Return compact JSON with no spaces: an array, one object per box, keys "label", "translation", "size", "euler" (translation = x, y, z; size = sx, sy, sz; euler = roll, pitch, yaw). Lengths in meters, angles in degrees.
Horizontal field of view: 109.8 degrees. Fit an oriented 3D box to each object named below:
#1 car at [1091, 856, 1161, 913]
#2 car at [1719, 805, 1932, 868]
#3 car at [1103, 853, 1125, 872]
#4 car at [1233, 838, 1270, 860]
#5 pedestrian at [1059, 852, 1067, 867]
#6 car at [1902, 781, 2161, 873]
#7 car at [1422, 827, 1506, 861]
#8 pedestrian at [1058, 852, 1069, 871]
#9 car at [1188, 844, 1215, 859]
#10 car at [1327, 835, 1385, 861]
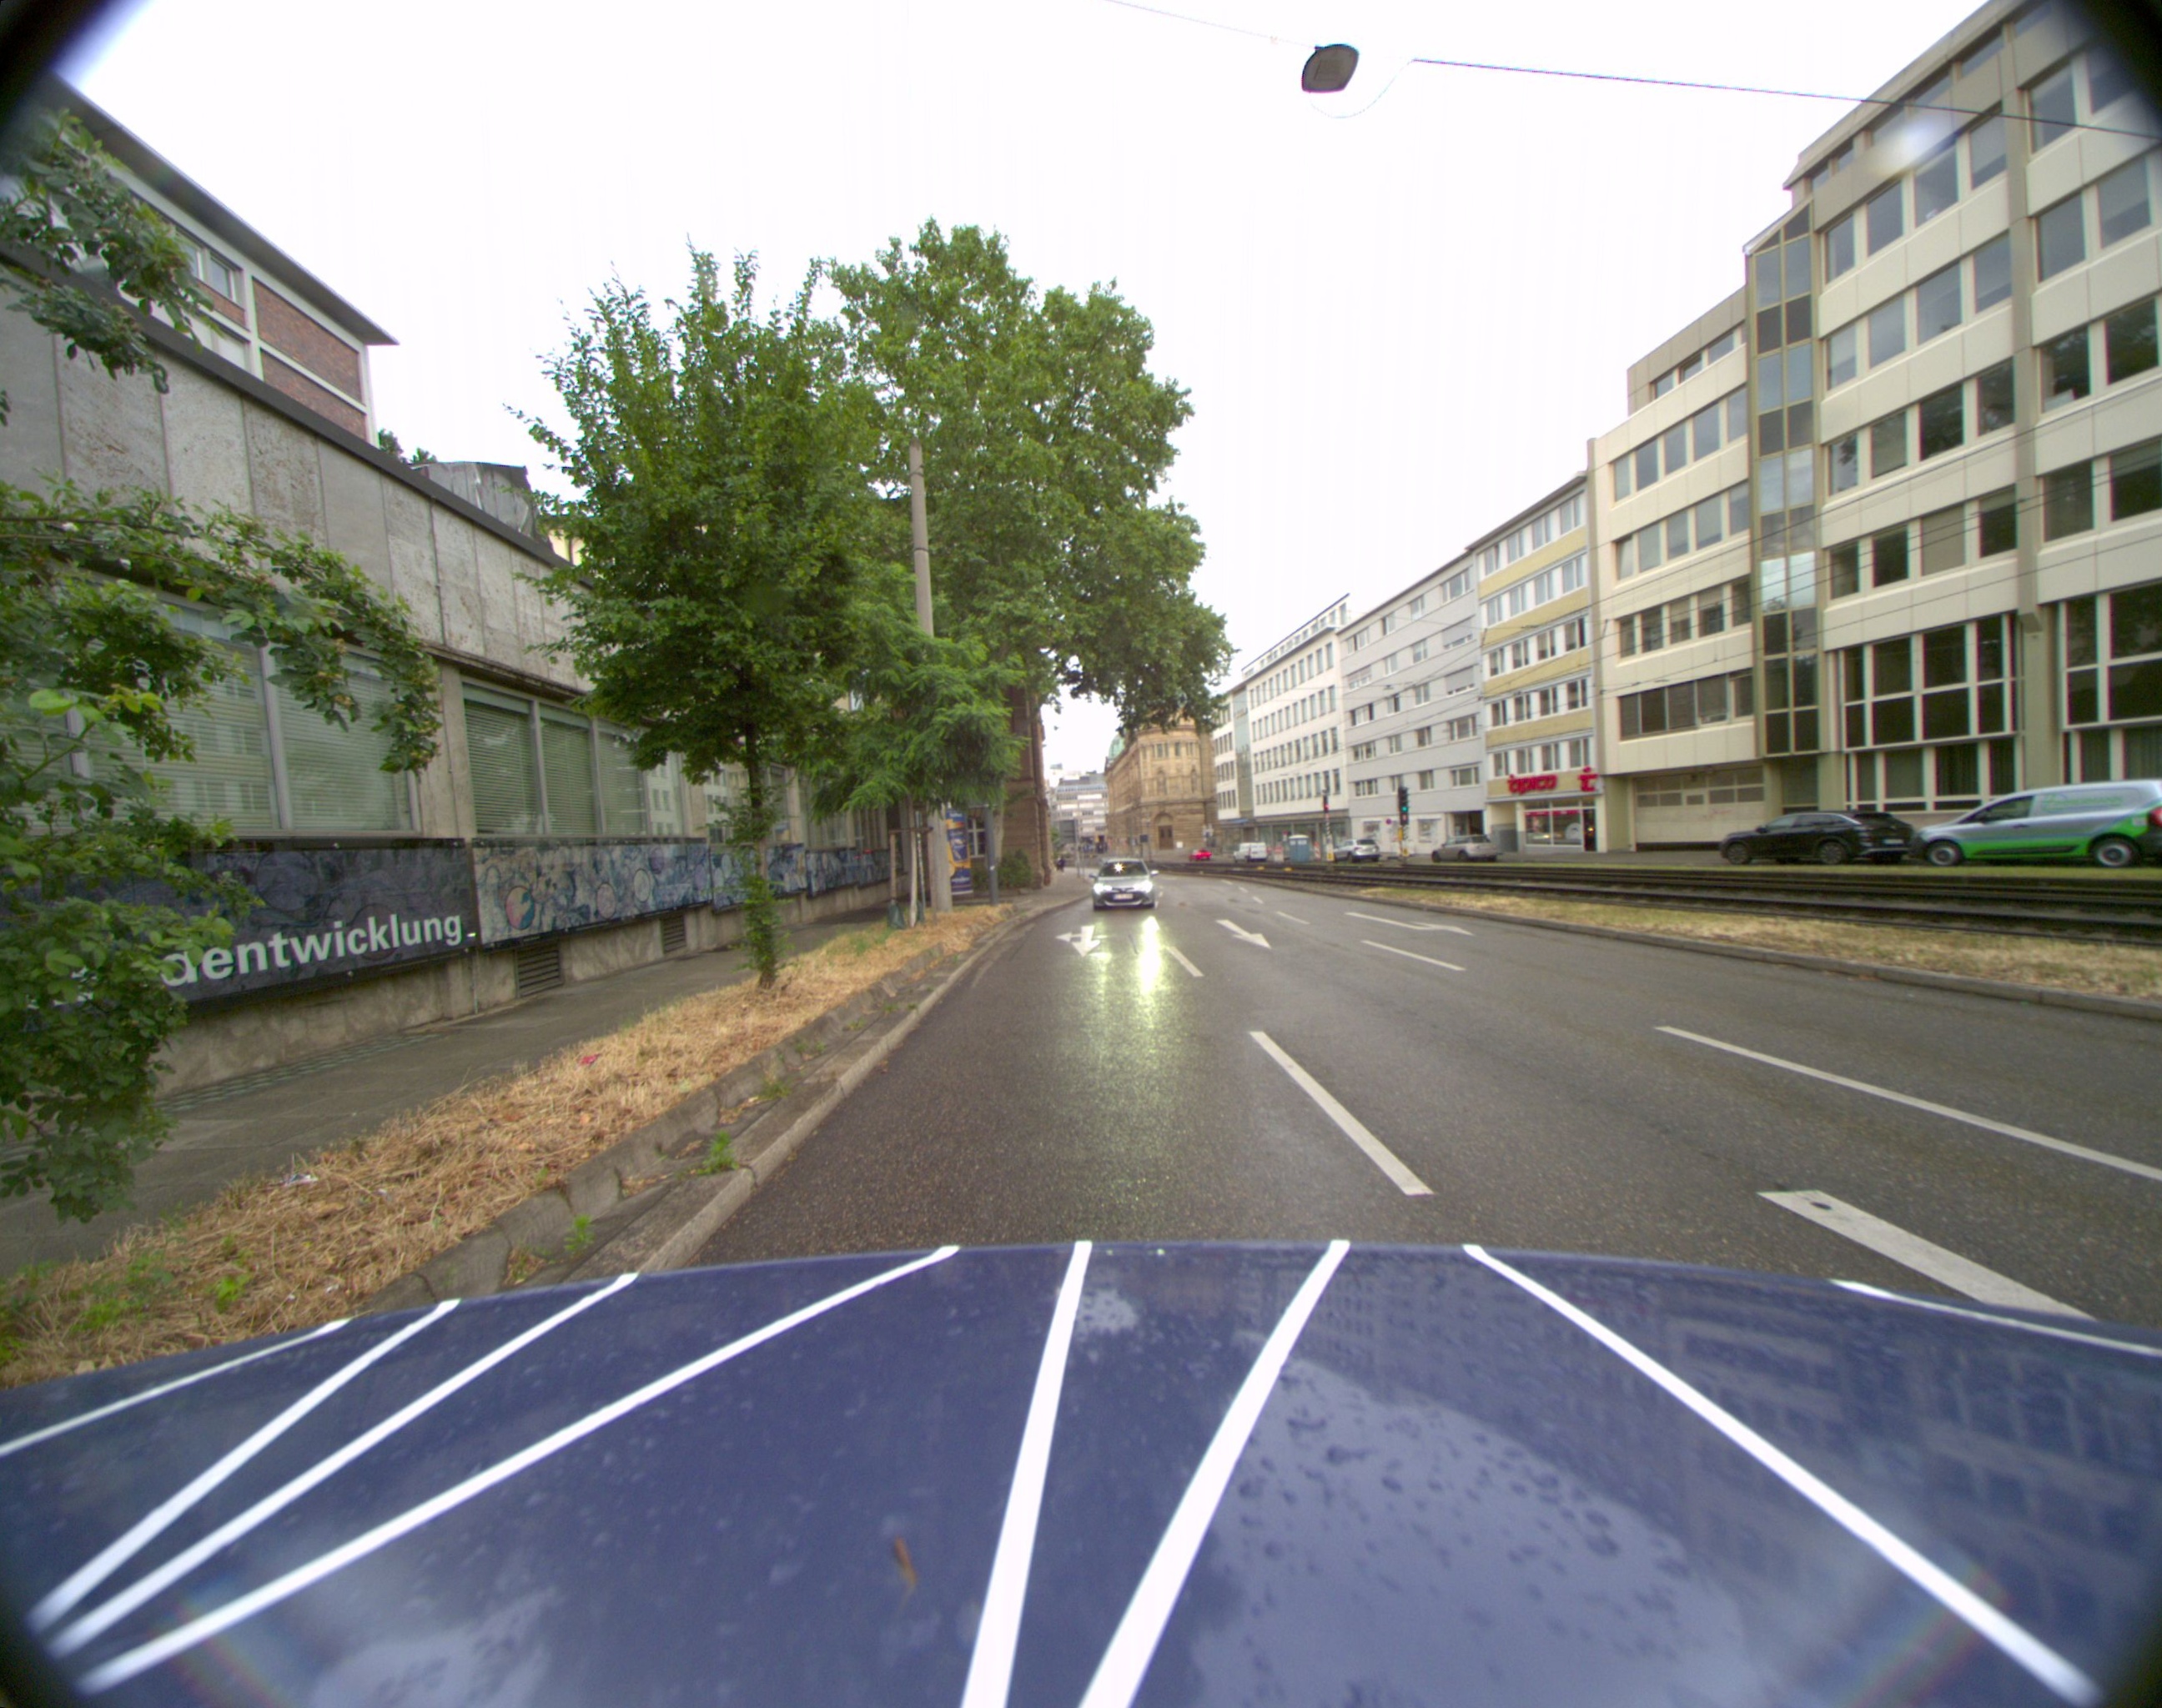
[{"label":"car","translation":[1.255,0.840,22.868],"size":[1.811,1.426,4.297],"euler":[-2,1,0]},{"label":"car","translation":[21.070,-0.471,21.765],"size":[1.801,1.505,4.075],"euler":[-5,1,-7]},{"label":"car","translation":[2.706,0.691,62.995],"size":[1.654,1.426,3.439],"euler":[-2,1,0]},{"label":"car","translation":[16.331,-0.504,72.948],"size":[1.890,1.924,4.474],"euler":[-5,1,-7]},{"label":"pedestrian","translation":[-2.031,0.645,86.291],"size":[0.719,1.630,0.760],"euler":[-5,2,1]},{"label":"car","translation":[21.508,-0.587,16.803],"size":[1.801,1.736,4.213],"euler":[-5,1,-8]},{"label":"car","translation":[19.496,-0.500,38.900],"size":[1.801,1.505,4.075],"euler":[-5,1,-7]},{"label":"pedestrian","translation":[-1.516,0.651,67.151],"size":[0.719,1.630,0.760],"euler":[-5,2,10]},{"label":"car","translation":[14.553,-0.369,92.103],"size":[1.890,1.615,4.474],"euler":[-5,1,-7]},{"label":"car","translation":[18.172,-0.423,50.445],"size":[1.890,1.505,4.075],"euler":[-5,1,-7]}]
